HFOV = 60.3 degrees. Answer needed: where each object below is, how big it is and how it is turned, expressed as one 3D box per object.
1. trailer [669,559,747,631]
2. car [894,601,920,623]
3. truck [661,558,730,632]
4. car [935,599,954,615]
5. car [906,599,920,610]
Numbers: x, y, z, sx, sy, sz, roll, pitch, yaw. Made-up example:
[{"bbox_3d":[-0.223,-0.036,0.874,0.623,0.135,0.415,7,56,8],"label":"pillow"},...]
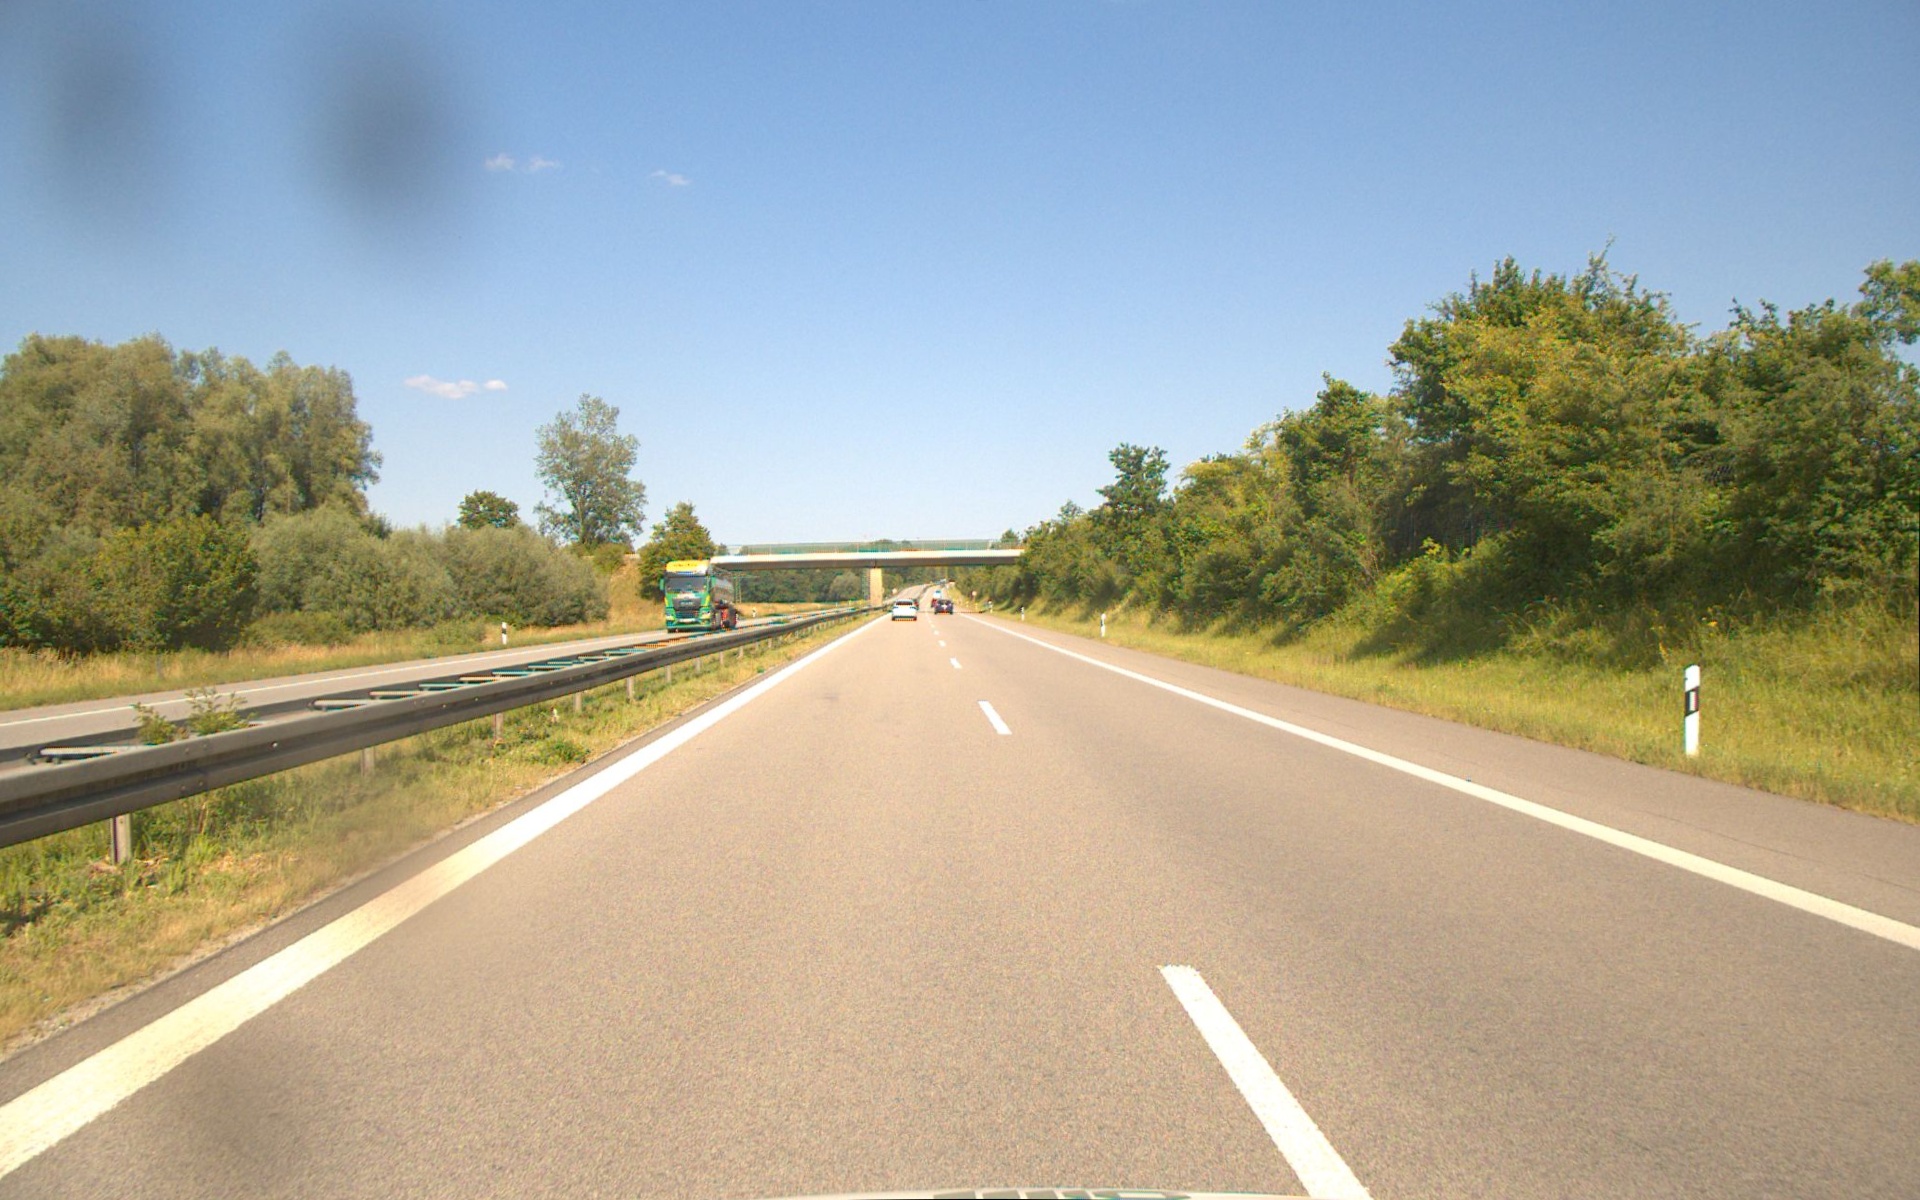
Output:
[{"bbox_3d":[-14.440,-0.238,95.669,2.920,3.796,12.415,-1,0,-2],"label":"trailer"},{"bbox_3d":[-3.705,0.826,115.478,1.806,1.440,3.998,1,0,-2],"label":"car"},{"bbox_3d":[-14.223,-0.248,89.298,2.896,3.796,5.566,-1,0,-2],"label":"truck"},{"bbox_3d":[-1.560,0.725,163.931,1.806,1.546,3.998,1,0,-2],"label":"car"},{"bbox_3d":[-6.164,0.586,217.986,1.806,1.461,3.998,1,0,-2],"label":"car"}]
